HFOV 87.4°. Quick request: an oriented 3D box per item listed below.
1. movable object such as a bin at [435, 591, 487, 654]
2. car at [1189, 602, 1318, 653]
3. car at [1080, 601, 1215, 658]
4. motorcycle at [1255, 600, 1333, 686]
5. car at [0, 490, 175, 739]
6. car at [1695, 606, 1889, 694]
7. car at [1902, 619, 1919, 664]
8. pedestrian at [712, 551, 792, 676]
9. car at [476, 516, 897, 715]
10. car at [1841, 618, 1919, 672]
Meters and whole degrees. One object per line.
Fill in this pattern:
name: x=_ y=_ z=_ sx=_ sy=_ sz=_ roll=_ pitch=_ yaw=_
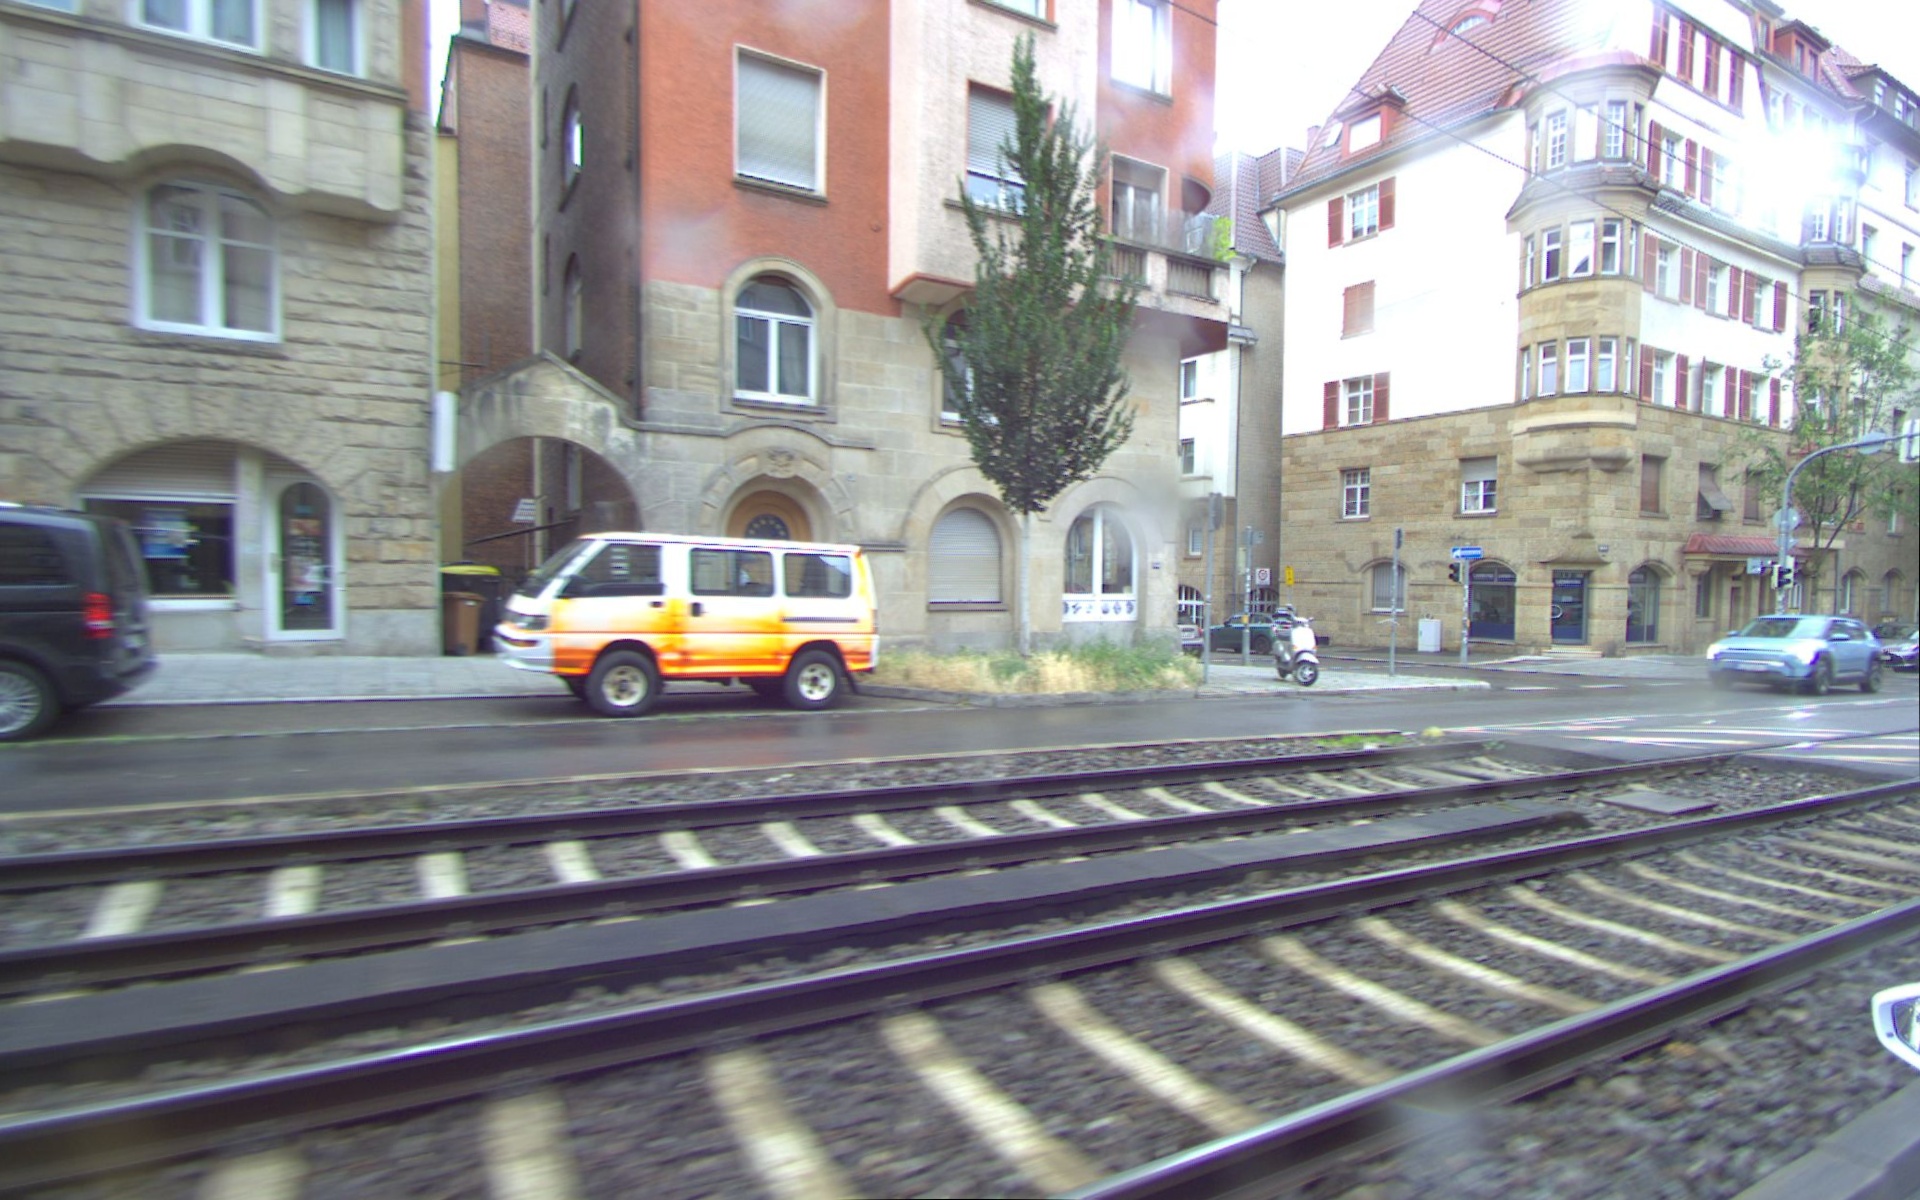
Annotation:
movable object such as a bin: x=-7.386 y=0.331 z=14.871 sx=0.647 sy=0.910 sz=0.544 roll=2 pitch=0 yaw=-27
car: x=10.122 y=0.933 z=34.924 sx=1.979 sy=1.595 sz=3.963 roll=2 pitch=0 yaw=-33
car: x=5.442 y=0.827 z=29.573 sx=1.726 sy=1.486 sz=3.968 roll=2 pitch=0 yaw=-30
motorcycle: x=5.758 y=0.712 z=17.404 sx=0.752 sy=1.393 sz=1.785 roll=2 pitch=0 yaw=2
car: x=-9.360 y=0.045 z=7.882 sx=4.778 sy=1.956 sz=1.896 roll=2 pitch=0 yaw=-31
car: x=17.371 y=1.023 z=20.941 sx=4.083 sy=1.639 sz=1.910 roll=2 pitch=0 yaw=-32
car: x=34.433 y=1.490 z=34.548 sx=4.924 sy=1.479 sz=1.771 roll=2 pitch=0 yaw=-32
pedestrian: x=-3.070 y=0.200 z=14.816 sx=0.882 sy=1.743 sz=0.713 roll=2 pitch=6 yaw=-30
car: x=-3.121 y=0.219 z=11.789 sx=4.427 sy=1.956 sz=1.719 roll=2 pitch=0 yaw=-32
car: x=29.704 y=1.416 z=31.756 sx=4.130 sy=1.549 sz=1.680 roll=2 pitch=0 yaw=-32
